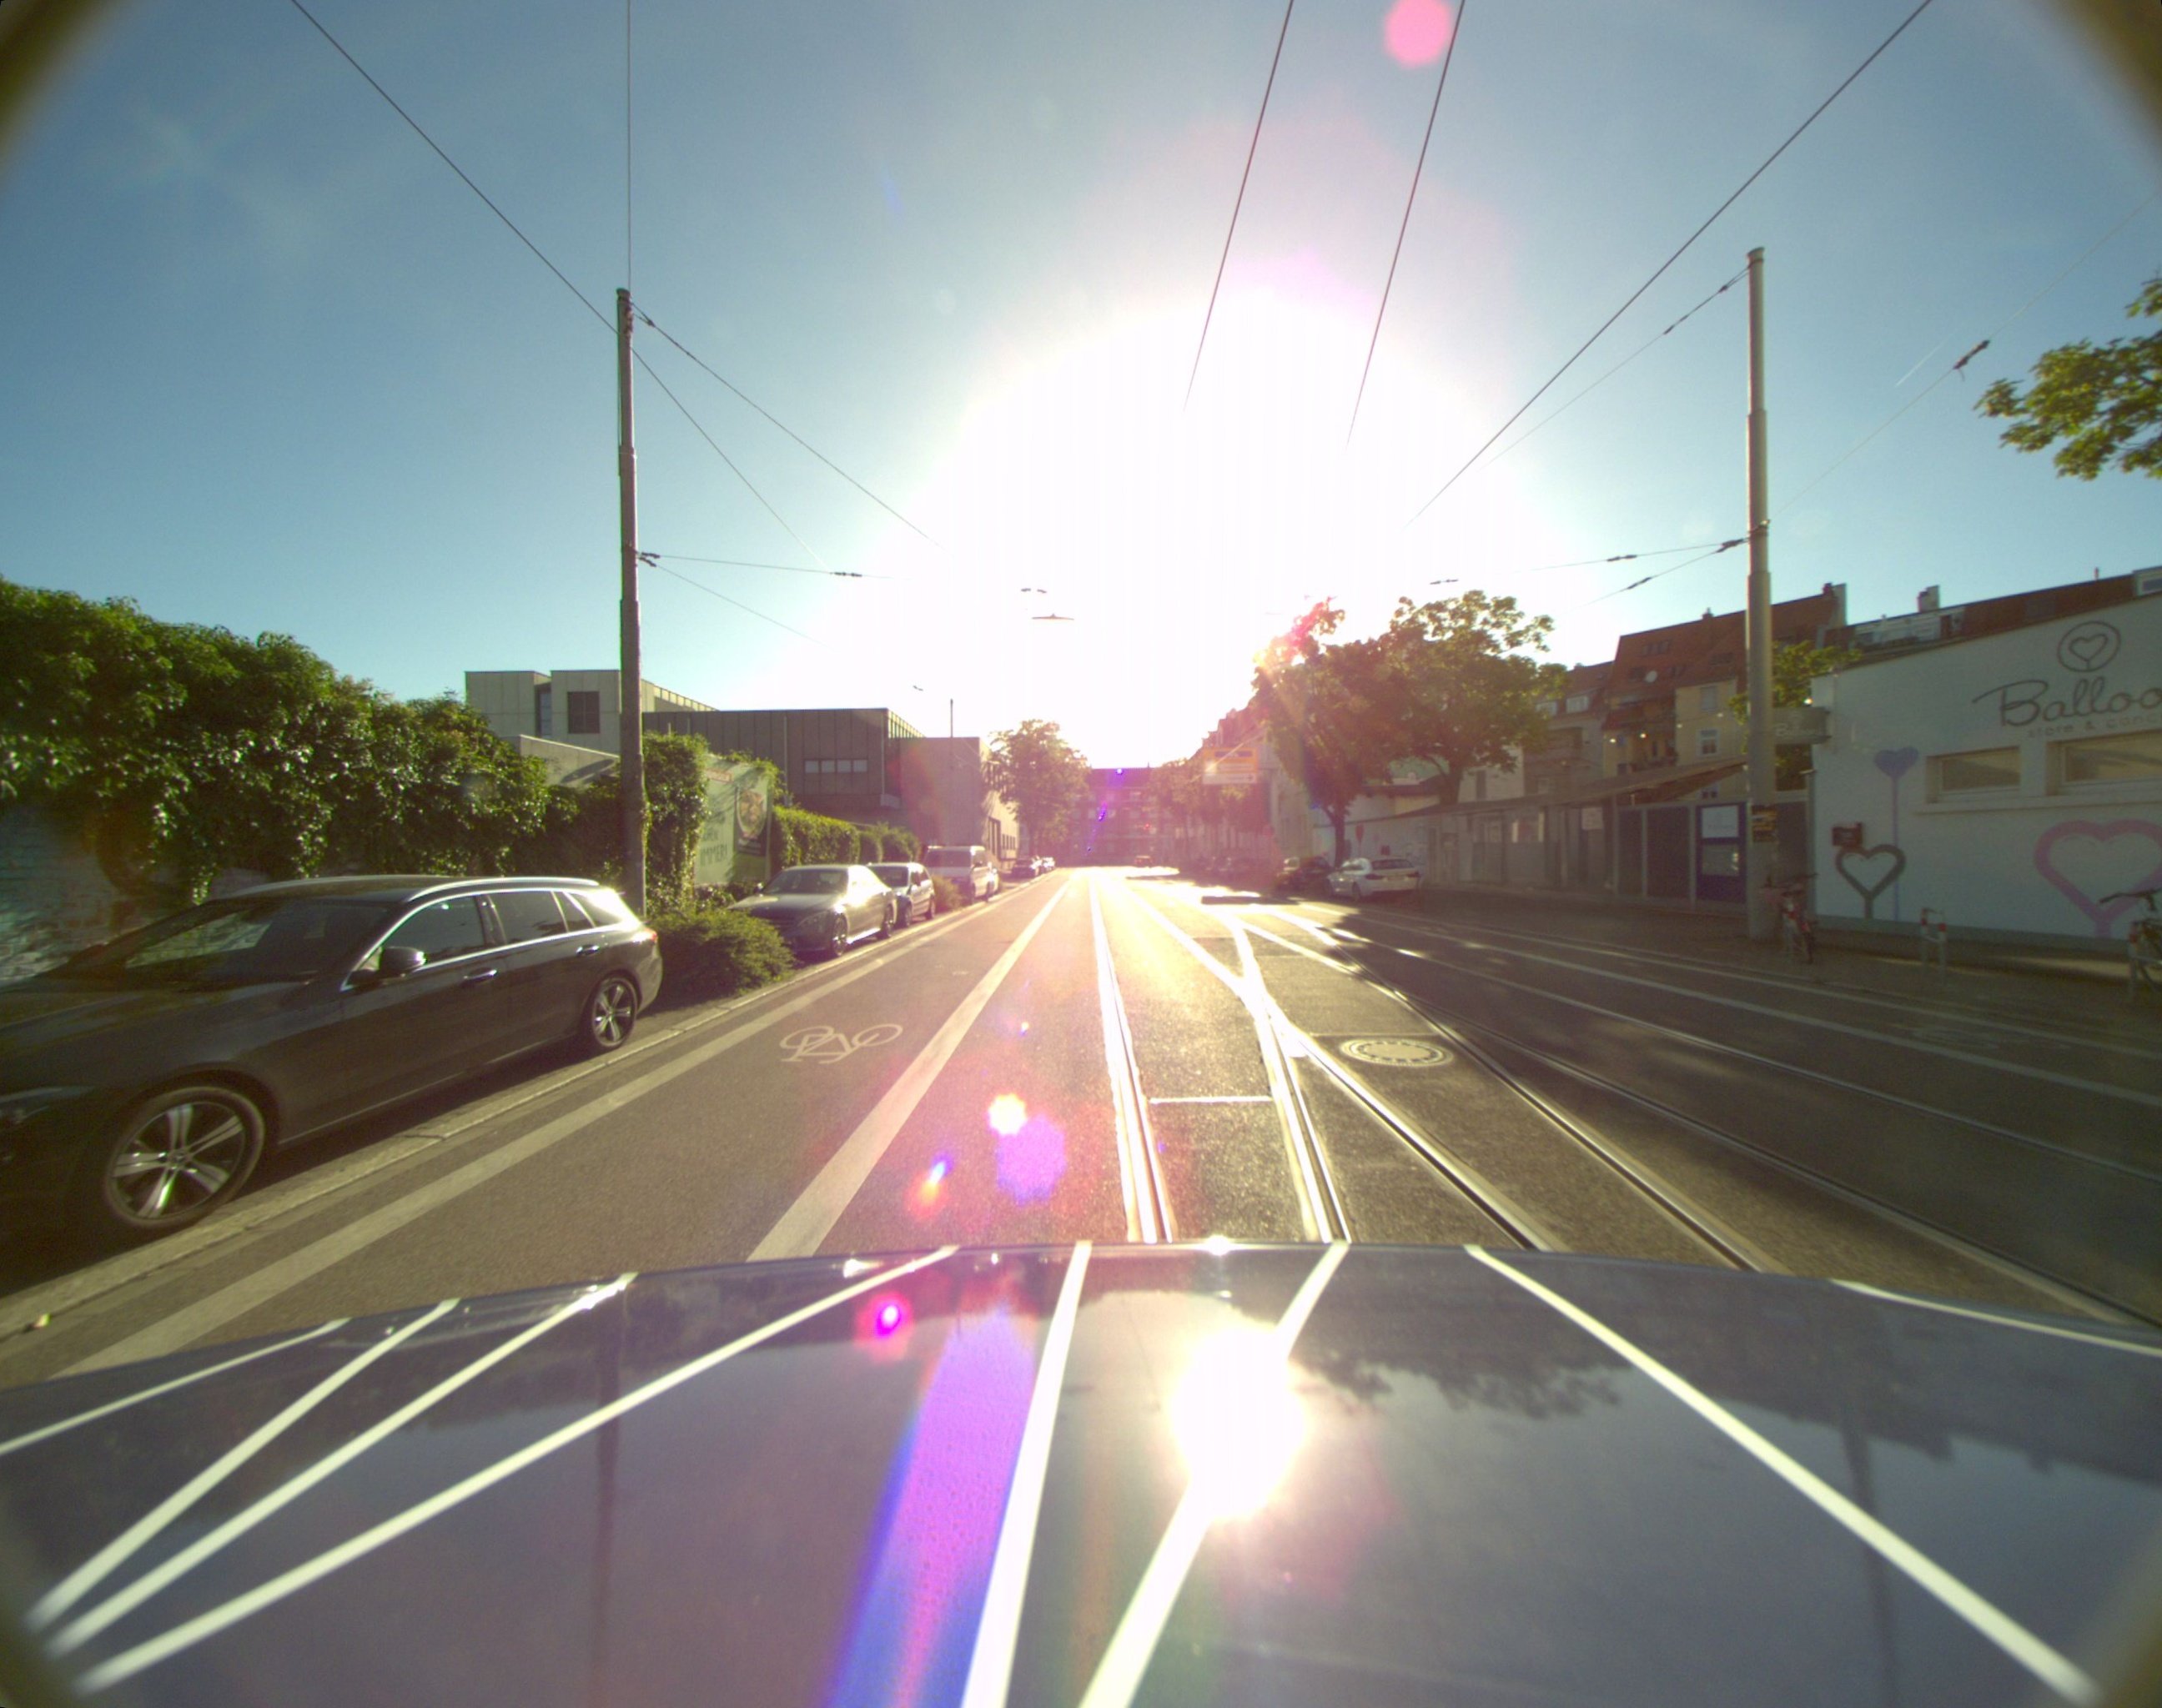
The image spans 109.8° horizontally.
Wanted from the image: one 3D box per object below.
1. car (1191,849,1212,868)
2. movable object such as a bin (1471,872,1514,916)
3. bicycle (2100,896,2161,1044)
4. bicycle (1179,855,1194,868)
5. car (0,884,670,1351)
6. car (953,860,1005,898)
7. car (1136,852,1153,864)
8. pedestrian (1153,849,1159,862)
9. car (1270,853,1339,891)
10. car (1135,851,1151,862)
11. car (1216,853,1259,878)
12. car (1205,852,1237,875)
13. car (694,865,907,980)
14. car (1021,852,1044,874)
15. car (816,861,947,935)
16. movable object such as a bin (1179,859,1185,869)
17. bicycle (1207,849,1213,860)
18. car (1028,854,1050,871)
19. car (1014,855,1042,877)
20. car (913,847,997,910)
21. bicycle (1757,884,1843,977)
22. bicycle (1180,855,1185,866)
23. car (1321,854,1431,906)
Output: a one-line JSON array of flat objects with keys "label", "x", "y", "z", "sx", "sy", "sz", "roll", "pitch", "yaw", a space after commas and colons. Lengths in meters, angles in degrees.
[{"label": "car", "x": 10.410, "y": 0.386, "z": 65.608, "sx": 1.358, "sy": 1.493, "sz": 2.548, "roll": -2, "pitch": -2, "yaw": 1}, {"label": "movable object such as a bin", "x": 9.928, "y": 0.951, "z": 18.337, "sx": 0.583, "sy": 0.954, "sz": 0.702, "roll": -6, "pitch": 1, "yaw": 1}, {"label": "bicycle", "x": 9.426, "y": 0.951, "z": 6.525, "sx": 1.991, "sy": 1.034, "sz": 0.531, "roll": -3, "pitch": 1, "yaw": -45}, {"label": "bicycle", "x": 10.099, "y": 0.684, "z": 72.669, "sx": 1.344, "sy": 1.163, "sz": 0.409, "roll": -2, "pitch": 1, "yaw": 1}, {"label": "car", "x": -4.704, "y": 1.026, "z": 4.578, "sx": 1.829, "sy": 1.444, "sz": 4.641, "roll": -1, "pitch": 1, "yaw": 1}, {"label": "car", "x": -4.286, "y": 1.000, "z": 32.477, "sx": 1.680, "sy": 1.409, "sz": 4.501, "roll": 1, "pitch": 1, "yaw": -1}, {"label": "car", "x": 8.030, "y": 0.443, "z": 96.010, "sx": 1.770, "sy": 1.455, "sz": 4.746, "roll": 0, "pitch": 1, "yaw": 0}, {"label": "pedestrian", "x": 10.709, "y": 0.241, "z": 108.376, "sx": 0.640, "sy": 1.764, "sz": 0.583, "roll": -2, "pitch": 1, "yaw": 1}, {"label": "car", "x": 9.737, "y": 0.731, "z": 33.406, "sx": 1.777, "sy": 1.477, "sz": 4.305, "roll": -2, "pitch": 1, "yaw": 1}, {"label": "car", "x": 8.519, "y": 0.338, "z": 105.073, "sx": 1.923, "sy": 1.516, "sz": 4.000, "roll": -2, "pitch": 1, "yaw": 1}, {"label": "car", "x": 9.912, "y": 0.696, "z": 48.357, "sx": 1.878, "sy": 1.420, "sz": 4.292, "roll": -2, "pitch": 1, "yaw": 1}, {"label": "car", "x": 9.984, "y": 0.646, "z": 54.423, "sx": 1.576, "sy": 1.496, "sz": 4.000, "roll": -2, "pitch": 1, "yaw": 1}, {"label": "car", "x": -4.546, "y": 1.013, "z": 13.177, "sx": 1.828, "sy": 1.476, "sz": 4.601, "roll": -2, "pitch": 1, "yaw": 2}, {"label": "car", "x": -4.000, "y": 0.731, "z": 63.333, "sx": 1.746, "sy": 1.702, "sz": 4.276, "roll": -1, "pitch": 1, "yaw": -2}, {"label": "car", "x": -4.678, "y": 0.971, "z": 18.471, "sx": 1.877, "sy": 1.464, "sz": 4.075, "roll": -2, "pitch": 1, "yaw": 3}, {"label": "movable object such as a bin", "x": 10.115, "y": 1.018, "z": 76.170, "sx": 0.425, "sy": 0.930, "sz": 0.582, "roll": -2, "pitch": 1, "yaw": 1}, {"label": "bicycle", "x": 12.991, "y": 0.036, "z": 76.343, "sx": 0.303, "sy": 1.036, "sz": 1.661, "roll": -2, "pitch": 1, "yaw": 1}, {"label": "car", "x": -3.889, "y": 0.795, "z": 70.920, "sx": 1.716, "sy": 1.481, "sz": 4.623, "roll": 0, "pitch": 0, "yaw": 0}, {"label": "car", "x": -3.992, "y": 0.877, "z": 57.782, "sx": 1.706, "sy": 1.473, "sz": 4.658, "roll": 2, "pitch": 1, "yaw": 0}, {"label": "car", "x": -4.326, "y": 0.755, "z": 26.896, "sx": 1.858, "sy": 1.980, "sz": 5.242, "roll": -1, "pitch": 1, "yaw": 3}, {"label": "bicycle", "x": 9.609, "y": 0.969, "z": 10.206, "sx": 0.667, "sy": 1.034, "sz": 1.790, "roll": -1, "pitch": 1, "yaw": 38}, {"label": "bicycle", "x": 10.018, "y": 0.603, "z": 74.935, "sx": 0.303, "sy": 1.036, "sz": 1.661, "roll": -2, "pitch": 1, "yaw": 1}, {"label": "car", "x": 9.711, "y": 0.790, "z": 25.462, "sx": 1.869, "sy": 1.482, "sz": 4.661, "roll": -2, "pitch": 1, "yaw": 0}]
